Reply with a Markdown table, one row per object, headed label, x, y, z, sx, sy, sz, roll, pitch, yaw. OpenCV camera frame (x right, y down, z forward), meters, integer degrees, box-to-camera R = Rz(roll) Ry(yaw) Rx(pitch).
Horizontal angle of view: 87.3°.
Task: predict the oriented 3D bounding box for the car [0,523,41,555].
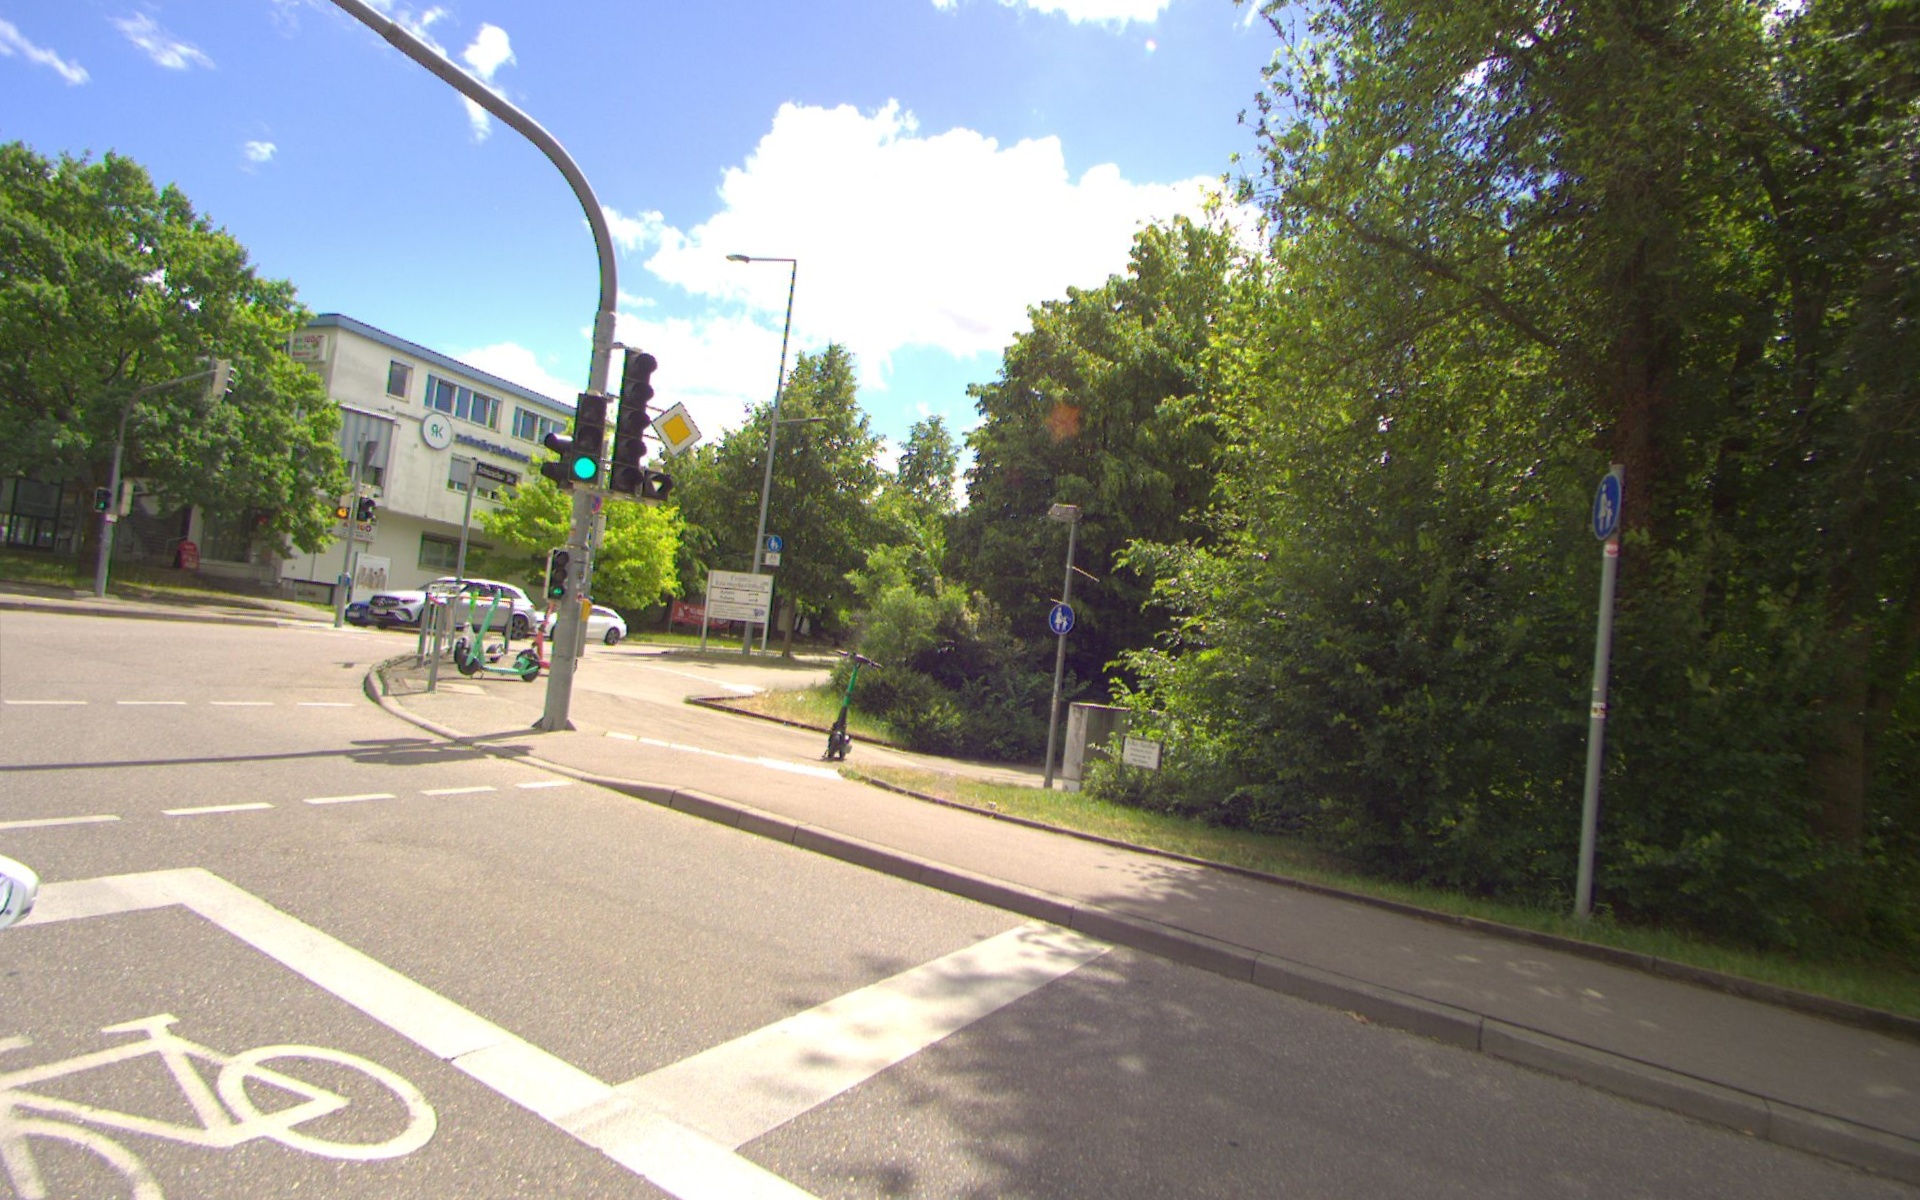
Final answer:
| label | x | y | z | sx | sy | sz | roll | pitch | yaw |
| --- | --- | --- | --- | --- | --- | --- | --- | --- | --- |
| car | -54.376 | -3.585 | 57.270 | 3.931 | 1.487 | 1.748 | 6 | -2 | 29 |

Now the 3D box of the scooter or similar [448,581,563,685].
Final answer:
| label | x | y | z | sx | sy | sz | roll | pitch | yaw |
| --- | --- | --- | --- | --- | --- | --- | --- | --- | --- |
| scooter or similar | -5.843 | 0.443 | 12.971 | 0.442 | 1.209 | 1.169 | 6 | -2 | 35 |

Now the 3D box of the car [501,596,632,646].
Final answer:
| label | x | y | z | sx | sy | sz | roll | pitch | yaw |
| --- | --- | --- | --- | --- | --- | --- | --- | --- | --- |
| car | -14.279 | 0.806 | 36.796 | 1.916 | 1.430 | 4.407 | 4 | -3 | 21 |

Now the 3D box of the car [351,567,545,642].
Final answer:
| label | x | y | z | sx | sy | sz | roll | pitch | yaw |
| --- | --- | --- | --- | --- | --- | --- | --- | --- | --- |
| car | -14.230 | 0.195 | 28.302 | 1.889 | 1.609 | 4.658 | 4 | -3 | 23 |

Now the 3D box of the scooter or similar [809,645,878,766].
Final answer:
| label | x | y | z | sx | sy | sz | roll | pitch | yaw |
| --- | --- | --- | --- | --- | --- | --- | --- | --- | --- |
| scooter or similar | -1.387 | 1.270 | 12.185 | 0.526 | 1.304 | 1.213 | 11 | -5 | -2 |

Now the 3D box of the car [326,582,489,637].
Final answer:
| label | x | y | z | sx | sy | sz | roll | pitch | yaw |
| --- | --- | --- | --- | --- | --- | --- | --- | --- | --- |
| car | -16.659 | 0.332 | 30.559 | 1.879 | 1.238 | 3.973 | 4 | -4 | 23 |

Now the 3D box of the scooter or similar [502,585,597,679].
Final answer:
| label | x | y | z | sx | sy | sz | roll | pitch | yaw |
| --- | --- | --- | --- | --- | --- | --- | --- | --- | --- |
| scooter or similar | -5.896 | 0.478 | 14.506 | 0.471 | 1.249 | 1.186 | 7 | -2 | 18 |

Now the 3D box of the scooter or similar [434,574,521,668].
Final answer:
| label | x | y | z | sx | sy | sz | roll | pitch | yaw |
| --- | --- | --- | --- | --- | --- | --- | --- | --- | --- |
| scooter or similar | -6.977 | 0.319 | 14.600 | 0.470 | 1.249 | 1.212 | 7 | -2 | 3 |
